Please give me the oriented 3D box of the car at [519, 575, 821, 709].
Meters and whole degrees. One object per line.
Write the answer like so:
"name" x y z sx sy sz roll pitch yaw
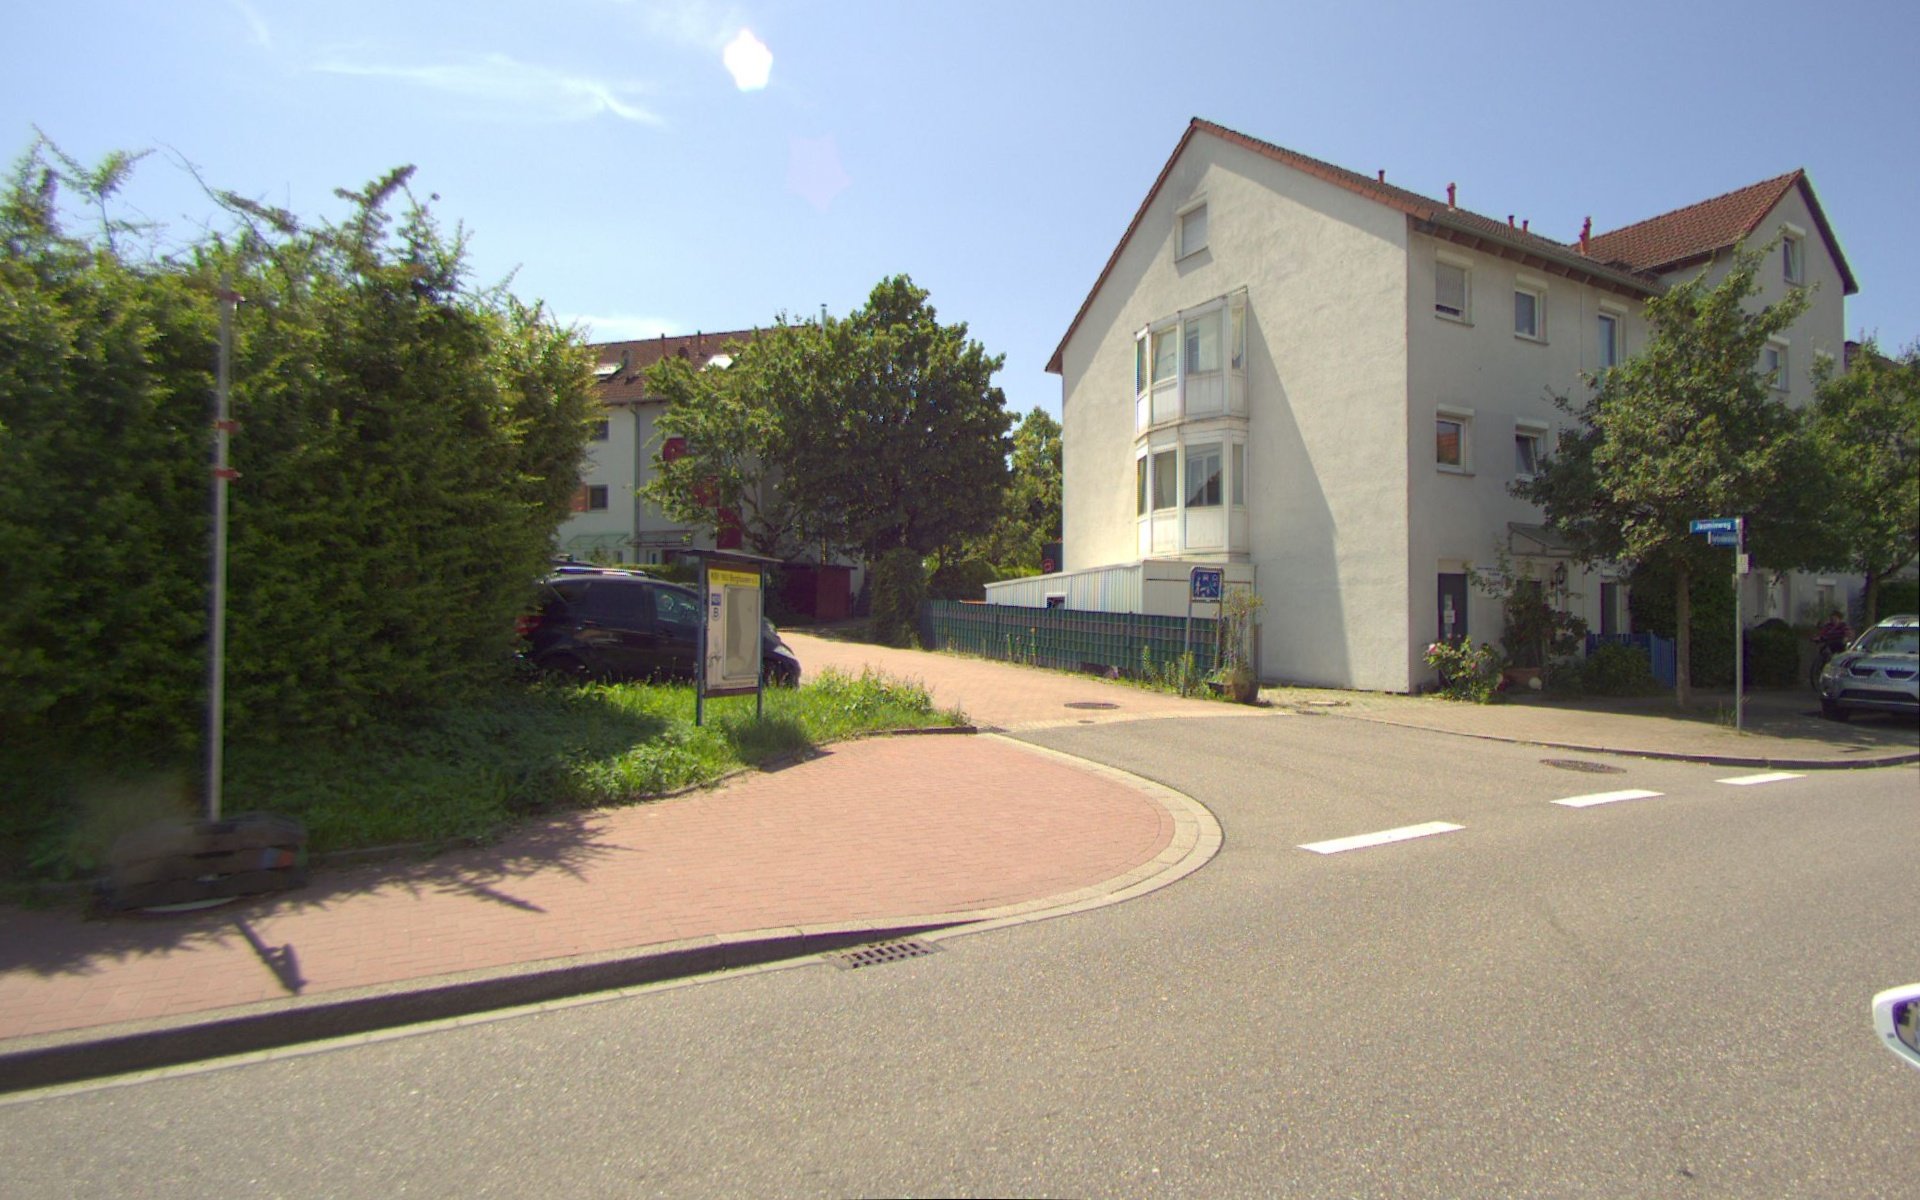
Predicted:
"car" -3.842 0.524 13.344 3.605 1.561 1.617 1 1 -27

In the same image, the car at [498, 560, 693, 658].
"car" -7.311 0.183 20.169 3.505 1.805 1.617 1 1 -27

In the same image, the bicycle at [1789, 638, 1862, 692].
"bicycle" 18.302 1.351 21.224 2.005 1.070 0.667 1 0 -34

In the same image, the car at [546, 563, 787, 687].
"car" -4.706 0.382 16.143 3.465 1.804 1.617 1 1 -27

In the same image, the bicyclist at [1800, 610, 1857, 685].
"bicyclist" 18.360 0.995 21.238 0.900 1.514 0.654 1 1 -34

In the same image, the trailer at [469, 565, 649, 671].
"trailer" -6.999 0.293 17.554 2.665 1.686 1.417 1 3 -34

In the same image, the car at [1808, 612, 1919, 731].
"car" 15.576 1.074 16.108 4.474 1.709 1.697 1 0 -31

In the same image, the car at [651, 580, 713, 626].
"car" -9.429 0.072 33.927 1.667 1.447 3.980 1 1 -21
